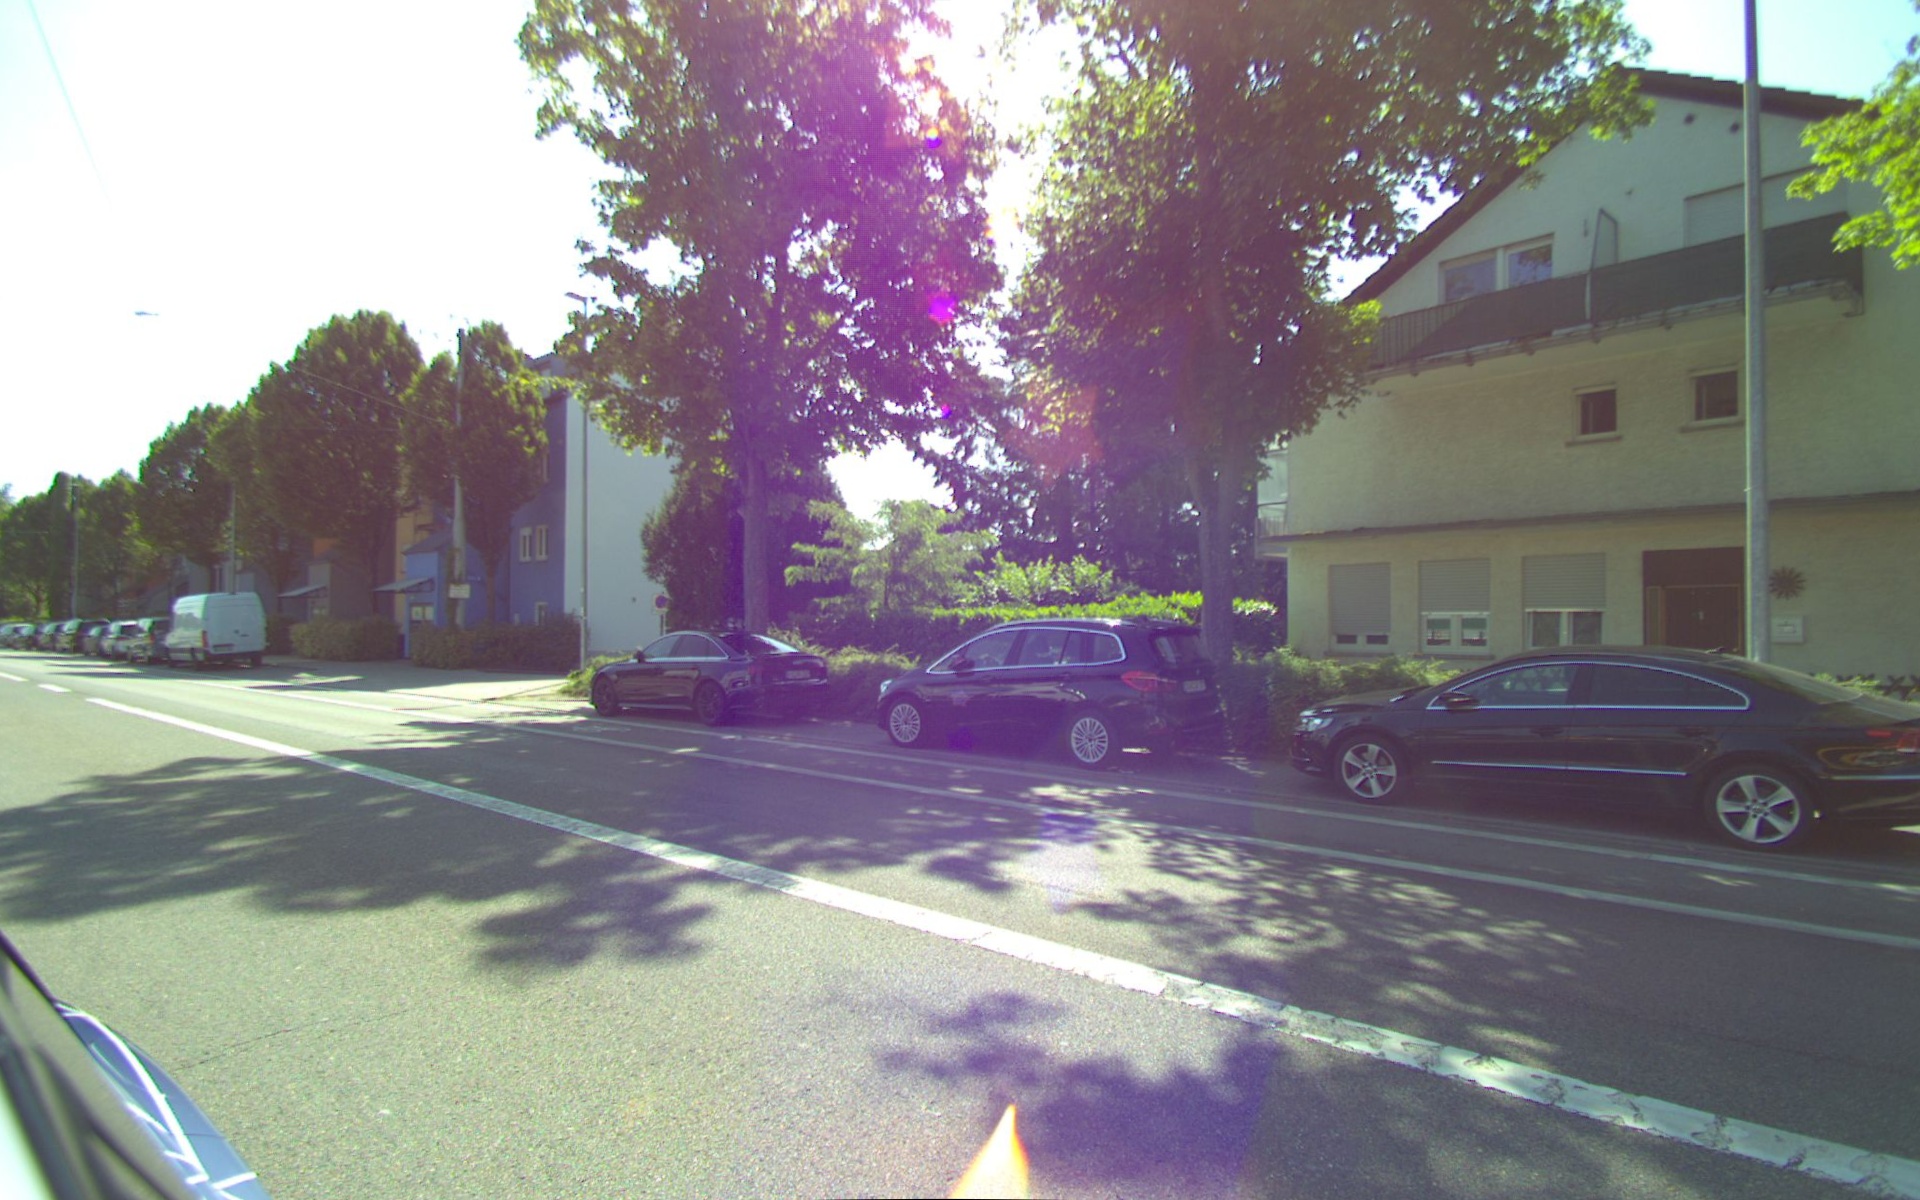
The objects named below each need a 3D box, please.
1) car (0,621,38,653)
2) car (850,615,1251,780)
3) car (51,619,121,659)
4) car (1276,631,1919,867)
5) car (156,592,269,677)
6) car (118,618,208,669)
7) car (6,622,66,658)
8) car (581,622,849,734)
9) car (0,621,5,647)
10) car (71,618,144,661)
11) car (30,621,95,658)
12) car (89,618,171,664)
[{"bbox_3d":[-60.268,2.336,64.200,4.766,1.818,1.974,-2,4,41],"label":"car"},{"bbox_3d":[0.932,1.017,12.245,4.619,1.583,1.844,-1,0,41],"label":"car"},{"bbox_3d":[-45.843,2.023,53.044,4.766,1.818,1.974,-2,4,41],"label":"car"},{"bbox_3d":[5.233,1.012,8.427,4.619,1.426,1.844,-1,0,41],"label":"car"},{"bbox_3d":[-27.368,1.230,36.959,6.213,2.713,1.973,-1,4,43],"label":"car"},{"bbox_3d":[-33.514,1.799,42.510,4.766,1.818,1.974,-2,4,41],"label":"car"},{"bbox_3d":[-54.899,2.359,60.110,4.766,1.818,1.974,-2,4,41],"label":"car"},{"bbox_3d":[-4.094,1.153,16.497,4.616,1.583,1.845,-1,-2,39],"label":"car"},{"bbox_3d":[-68.780,2.483,71.022,4.766,1.818,1.974,-2,4,41],"label":"car"},{"bbox_3d":[-42.121,1.934,50.002,4.254,1.818,1.974,-2,4,41],"label":"car"},{"bbox_3d":[-50.270,2.181,56.632,4.766,1.818,1.974,-2,4,41],"label":"car"},{"bbox_3d":[-38.013,1.861,46.315,4.766,1.818,1.974,-2,4,41],"label":"car"}]
